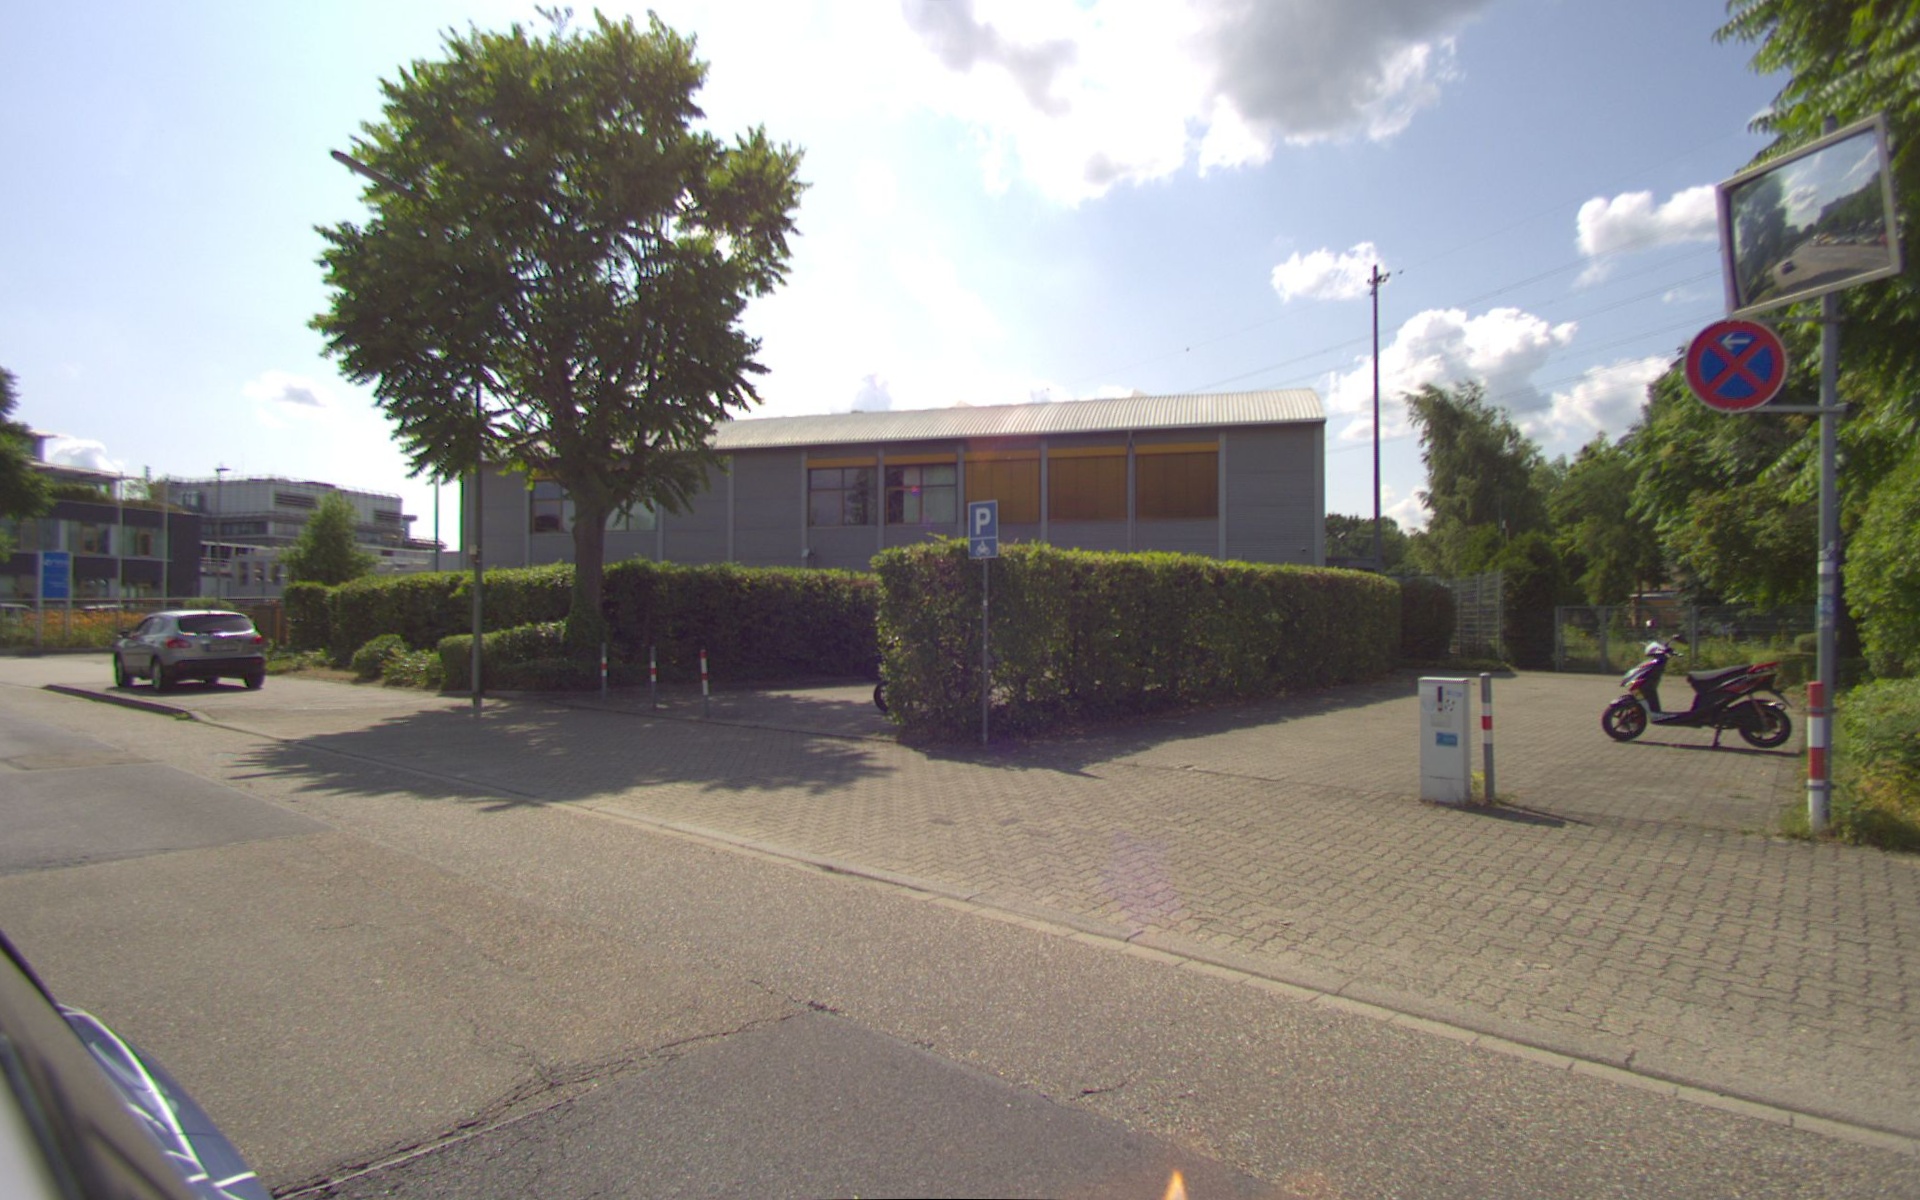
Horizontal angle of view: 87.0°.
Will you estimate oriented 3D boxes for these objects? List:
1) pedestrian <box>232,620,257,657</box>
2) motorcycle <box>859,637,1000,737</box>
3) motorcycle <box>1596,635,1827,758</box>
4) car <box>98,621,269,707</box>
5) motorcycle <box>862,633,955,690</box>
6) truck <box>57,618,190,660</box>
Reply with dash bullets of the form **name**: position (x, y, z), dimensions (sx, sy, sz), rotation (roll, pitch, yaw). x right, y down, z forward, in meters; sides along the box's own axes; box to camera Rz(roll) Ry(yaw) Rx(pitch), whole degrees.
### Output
- **pedestrian**: position (-33.543, 1.816, 47.467), dimensions (0.726, 1.704, 0.547), rotation (2, -1, 12)
- **motorcycle**: position (-0.442, 1.145, 13.809), dimensions (2.084, 1.229, 0.527), rotation (0, -2, 40)
- **motorcycle**: position (8.063, 0.995, 10.936), dimensions (1.939, 1.229, 0.526), rotation (-2, -3, 41)
- **car**: position (-16.164, 1.259, 21.004), dimensions (4.470, 1.586, 1.741), rotation (-2, -2, 38)
- **motorcycle**: position (-1.133, 1.343, 22.286), dimensions (1.987, 1.211, 0.531), rotation (-1, -2, 15)
- **truck**: position (-56.538, 2.641, 68.646), dimensions (2.382, 2.678, 6.902), rotation (-1, -2, 14)
